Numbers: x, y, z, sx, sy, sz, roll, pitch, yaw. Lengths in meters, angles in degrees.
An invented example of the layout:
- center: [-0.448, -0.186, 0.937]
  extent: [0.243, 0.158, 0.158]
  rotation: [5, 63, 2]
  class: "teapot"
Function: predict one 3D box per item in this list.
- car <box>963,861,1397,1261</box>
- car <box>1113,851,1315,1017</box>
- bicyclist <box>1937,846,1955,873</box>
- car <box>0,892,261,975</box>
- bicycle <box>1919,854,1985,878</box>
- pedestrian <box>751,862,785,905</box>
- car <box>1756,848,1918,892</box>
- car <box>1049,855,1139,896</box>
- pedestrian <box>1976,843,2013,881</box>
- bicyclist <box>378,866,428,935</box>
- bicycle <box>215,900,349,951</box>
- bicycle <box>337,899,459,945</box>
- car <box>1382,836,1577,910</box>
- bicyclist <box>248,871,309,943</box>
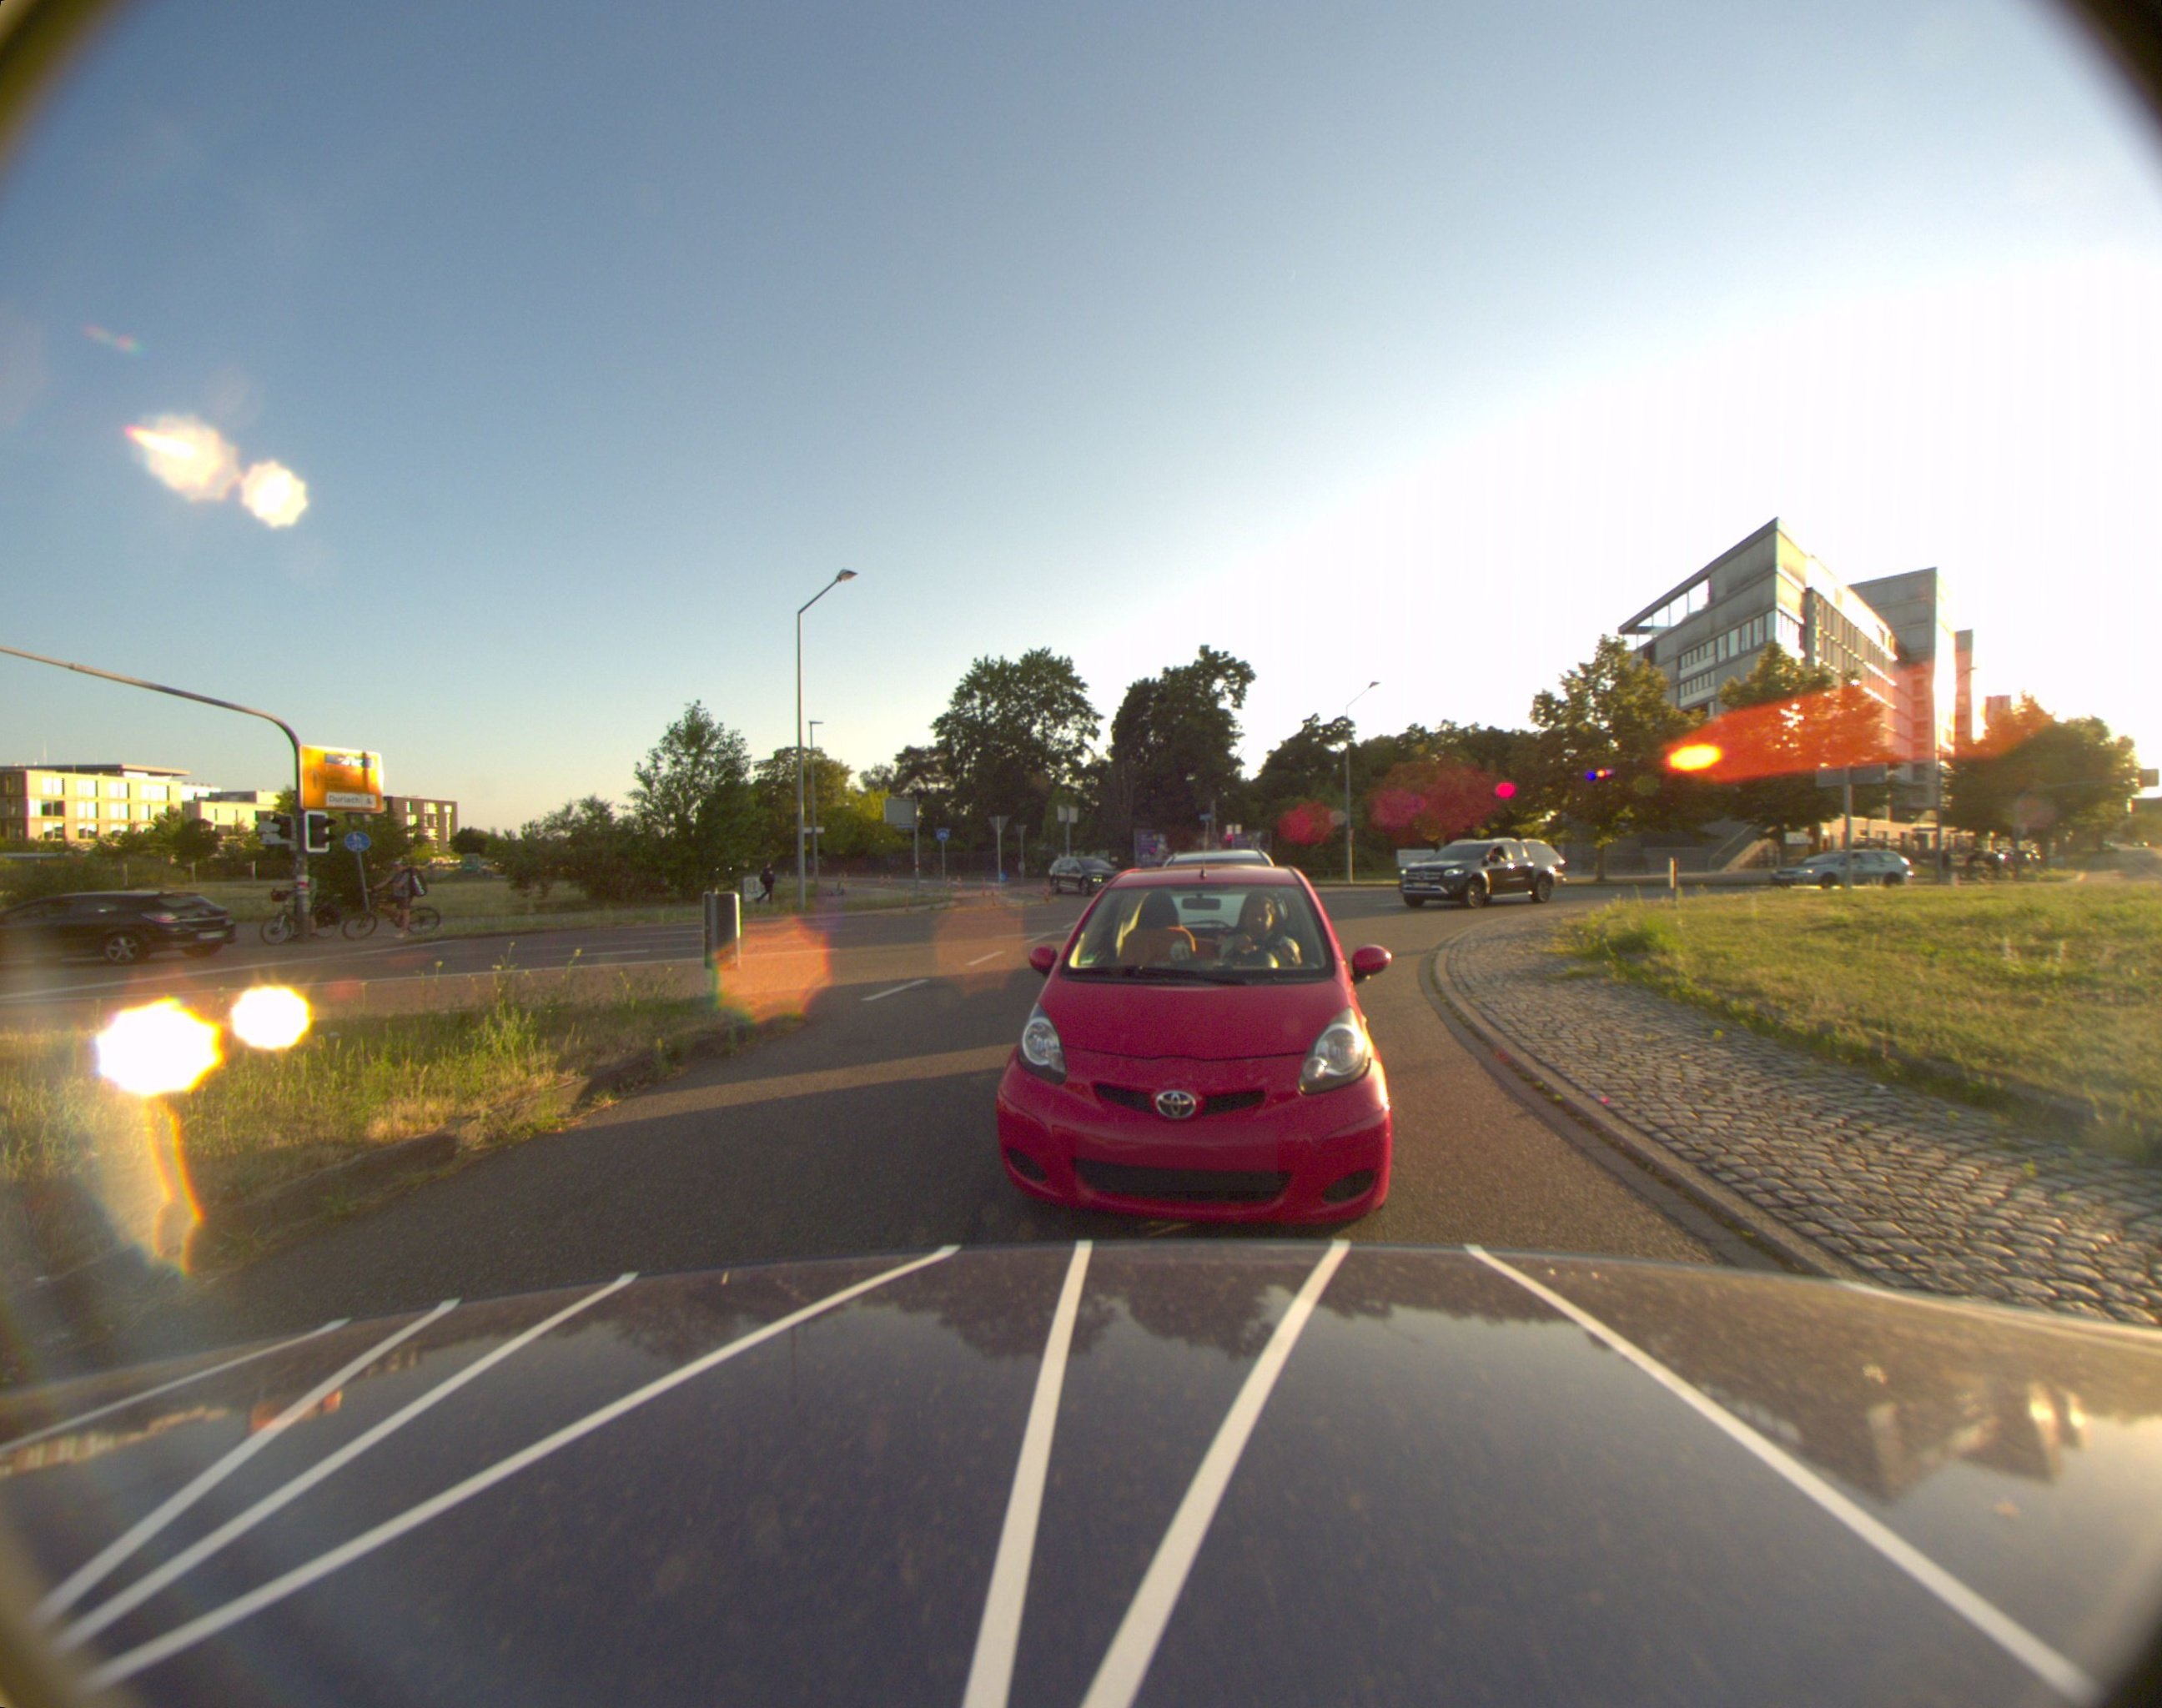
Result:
- center: [0.829, 0.796, 4.936]
  extent: [1.686, 1.412, 4.004]
  rotation: [-1, 0, 14]
  class: "car"
- center: [1.859, 0.794, 9.711]
  extent: [1.996, 1.597, 4.203]
  rotation: [-1, 0, 15]
  class: "car"
- center: [46.974, 0.310, 41.260]
  extent: [0.693, 1.432, 0.610]
  rotation: [-2, 1, -42]
  class: "bicyclist"
- center: [-19.422, 1.526, 14.969]
  extent: [4.127, 1.371, 1.749]
  rotation: [-1, 0, -13]
  class: "car"
- center: [47.087, 0.630, 41.118]
  extent: [0.744, 1.237, 2.341]
  rotation: [-2, 1, -41]
  class: "bicycle"
- center: [-11.935, 1.117, 28.973]
  extent: [0.994, 1.581, 0.924]
  rotation: [-2, 1, -36]
  class: "pedestrian"
- center: [28.845, 0.598, 29.078]
  extent: [4.566, 1.550, 1.832]
  rotation: [-1, 1, -4]
  class: "car"
- center: [0.465, 0.867, 32.596]
  extent: [2.003, 1.588, 4.304]
  rotation: [-1, 0, -28]
  class: "car"
- center: [49.107, 0.402, 40.842]
  extent: [0.776, 2.002, 0.998]
  rotation: [-2, 1, -11]
  class: "pedestrian"
- center: [-17.150, 1.164, 19.226]
  extent: [0.723, 1.680, 0.690]
  rotation: [-1, 1, 28]
  class: "bicyclist"
- center: [-19.276, 1.697, 18.405]
  extent: [0.708, 0.958, 2.109]
  rotation: [-1, 2, 14]
  class: "bicycle"
- center: [-17.165, 1.678, 19.165]
  extent: [0.708, 0.957, 2.149]
  rotation: [-1, 0, 26]
  class: "bicycle"
- center: [10.842, 0.501, 20.575]
  extent: [5.314, 1.801, 1.996]
  rotation: [0, -2, -28]
  class: "car"
- center: [-19.335, 1.256, 18.318]
  extent: [0.724, 1.680, 0.690]
  rotation: [-1, 1, 12]
  class: "bicyclist"
